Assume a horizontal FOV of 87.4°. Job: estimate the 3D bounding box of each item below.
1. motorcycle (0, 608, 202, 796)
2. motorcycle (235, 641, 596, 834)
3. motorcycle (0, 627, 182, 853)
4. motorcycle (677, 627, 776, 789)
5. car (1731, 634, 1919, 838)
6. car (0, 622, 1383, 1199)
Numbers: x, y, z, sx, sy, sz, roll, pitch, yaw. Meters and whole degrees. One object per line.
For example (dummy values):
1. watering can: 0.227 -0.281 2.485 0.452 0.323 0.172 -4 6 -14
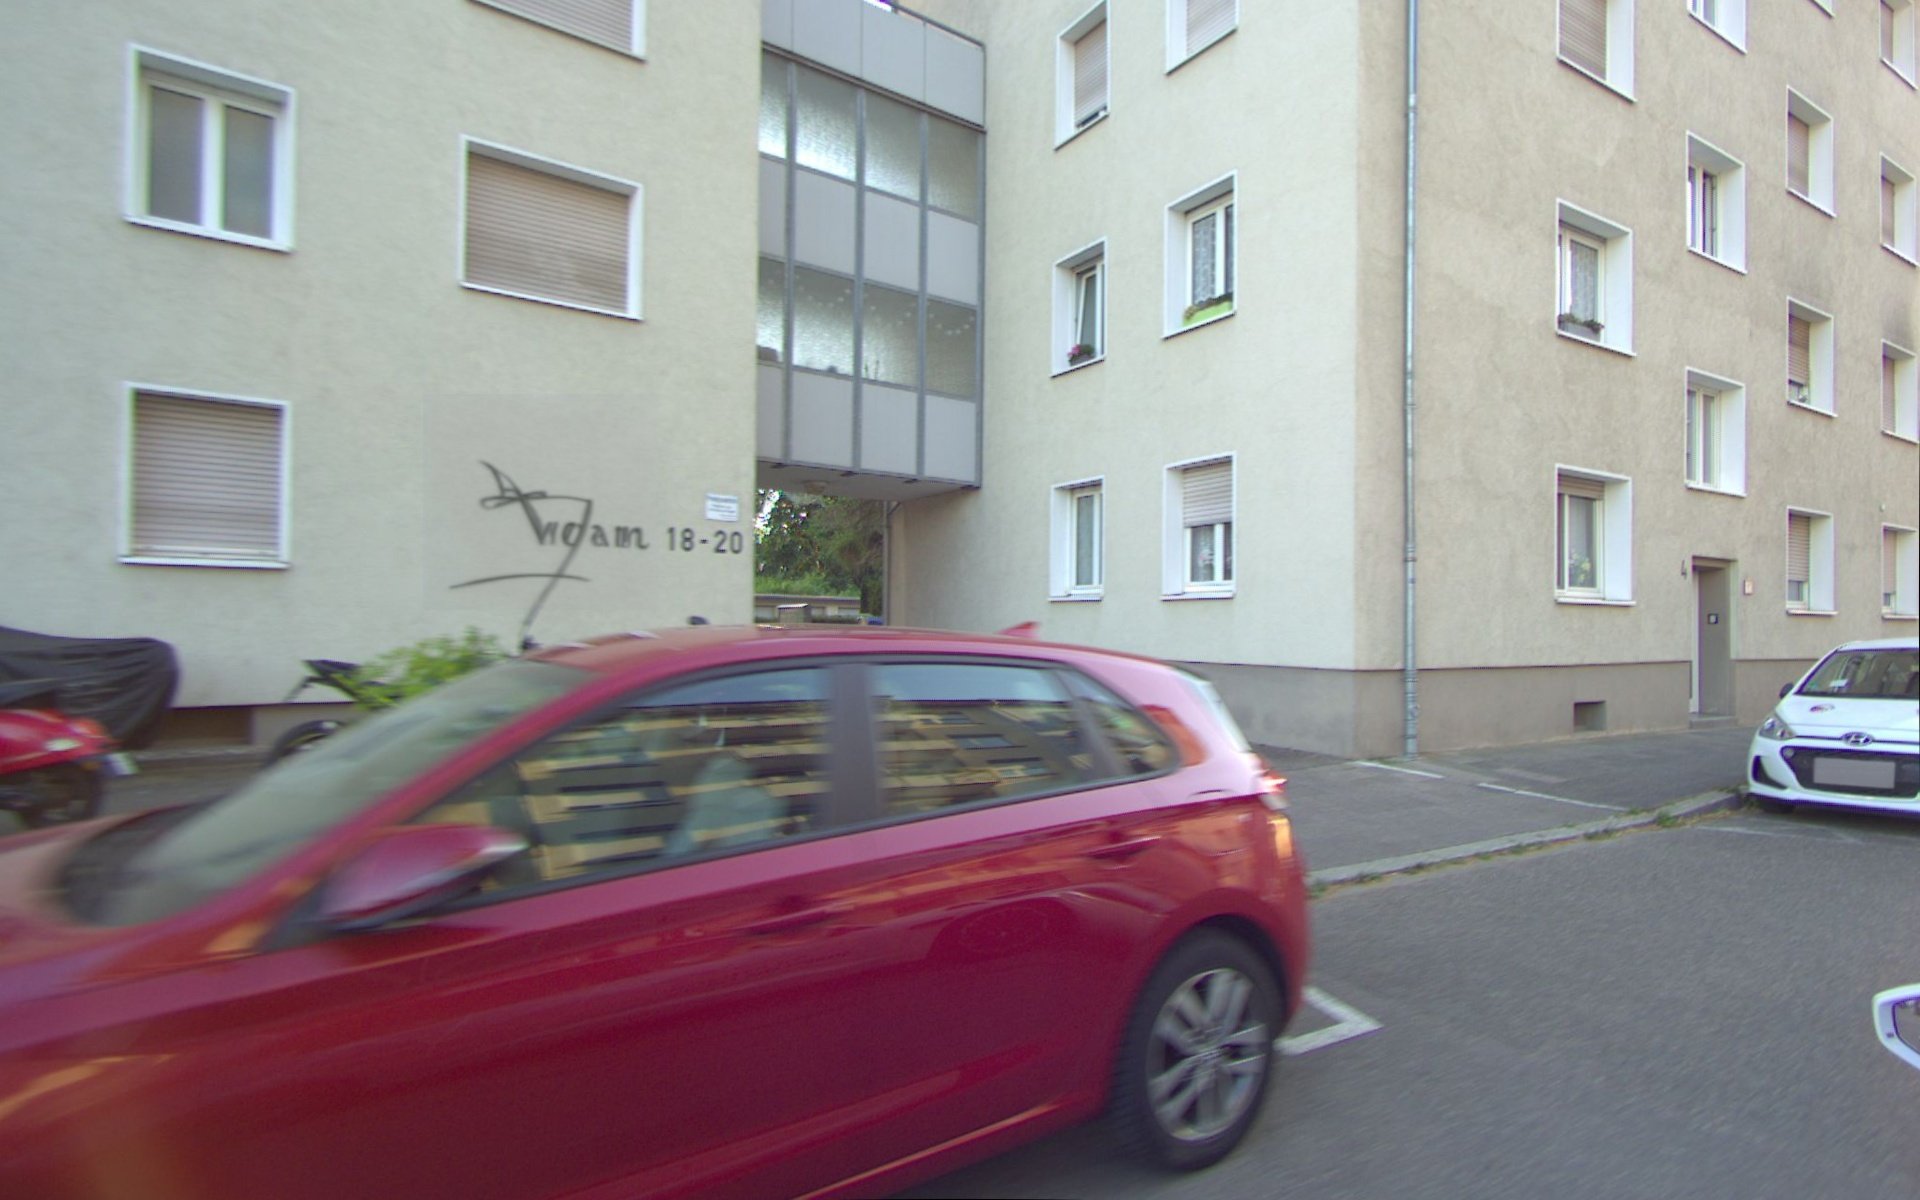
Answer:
1. motorcycle: -6.773 0.702 7.158 2.050 1.281 0.722 1 -1 -21
2. motorcycle: -3.537 0.836 6.682 2.011 1.093 0.679 1 -1 -31
3. motorcycle: -5.610 0.739 5.534 1.996 1.176 0.690 0 -1 -7
4. motorcycle: -1.955 0.795 8.221 0.552 1.120 2.121 0 -1 -19
5. car: 8.305 1.040 8.628 3.467 1.492 1.606 1 -3 -33
6. car: -0.881 0.811 2.725 4.035 1.493 1.834 1 -1 -33
